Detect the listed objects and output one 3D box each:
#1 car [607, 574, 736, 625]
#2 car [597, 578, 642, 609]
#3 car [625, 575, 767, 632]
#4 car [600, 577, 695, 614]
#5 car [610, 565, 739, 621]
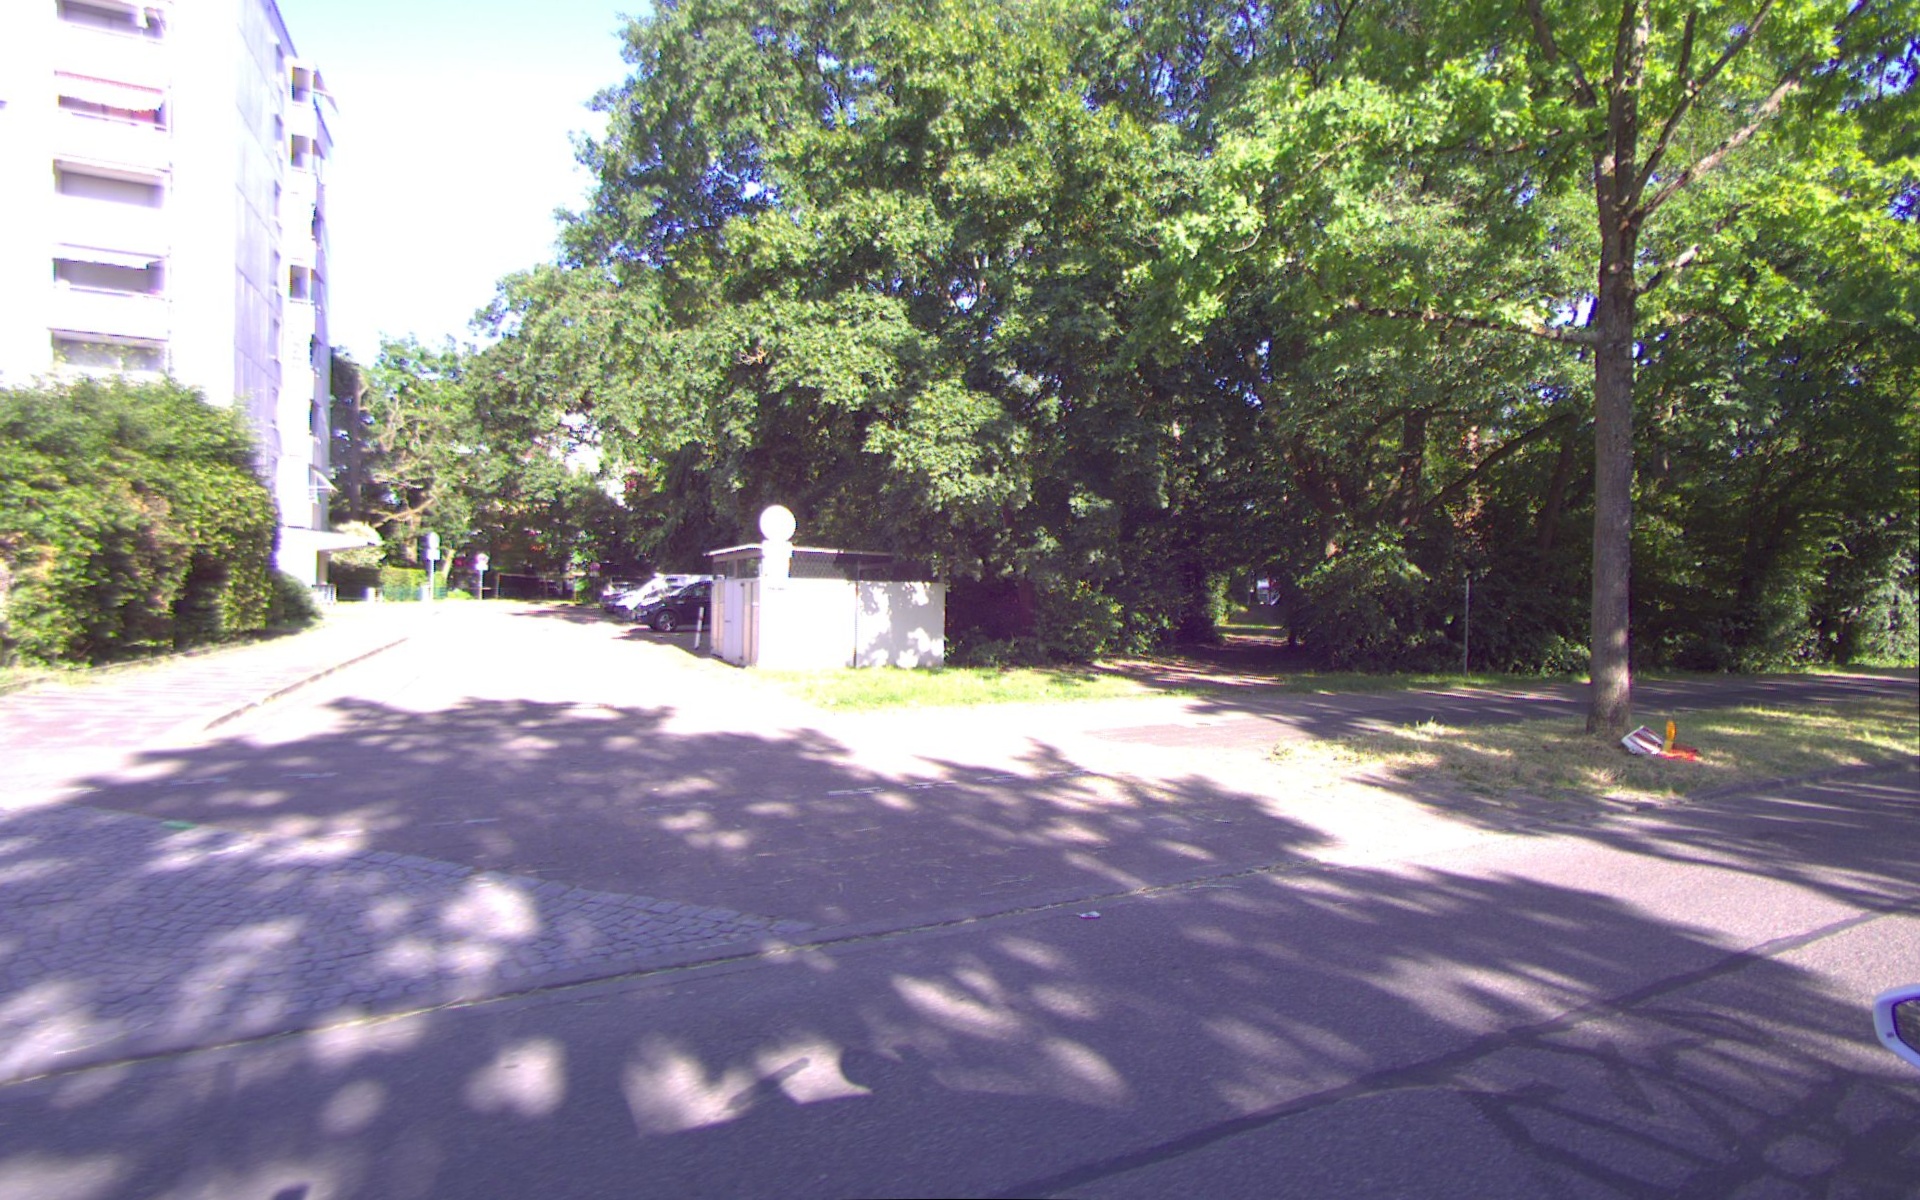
[{"bbox_3d":[-10.558,0.003,36.852,4.204,1.777,1.984,1,0,-30],"label":"car"},{"bbox_3d":[-21.103,-0.411,62.135,1.975,1.777,4.224,1,0,-28],"label":"car"},{"bbox_3d":[-8.761,0.119,33.419,4.204,1.777,1.984,1,0,-30],"label":"car"},{"bbox_3d":[-15.521,-0.207,49.962,4.204,1.777,1.984,1,0,-30],"label":"car"},{"bbox_3d":[-11.535,-0.255,40.634,4.763,2.160,1.987,1,0,-26],"label":"car"}]
